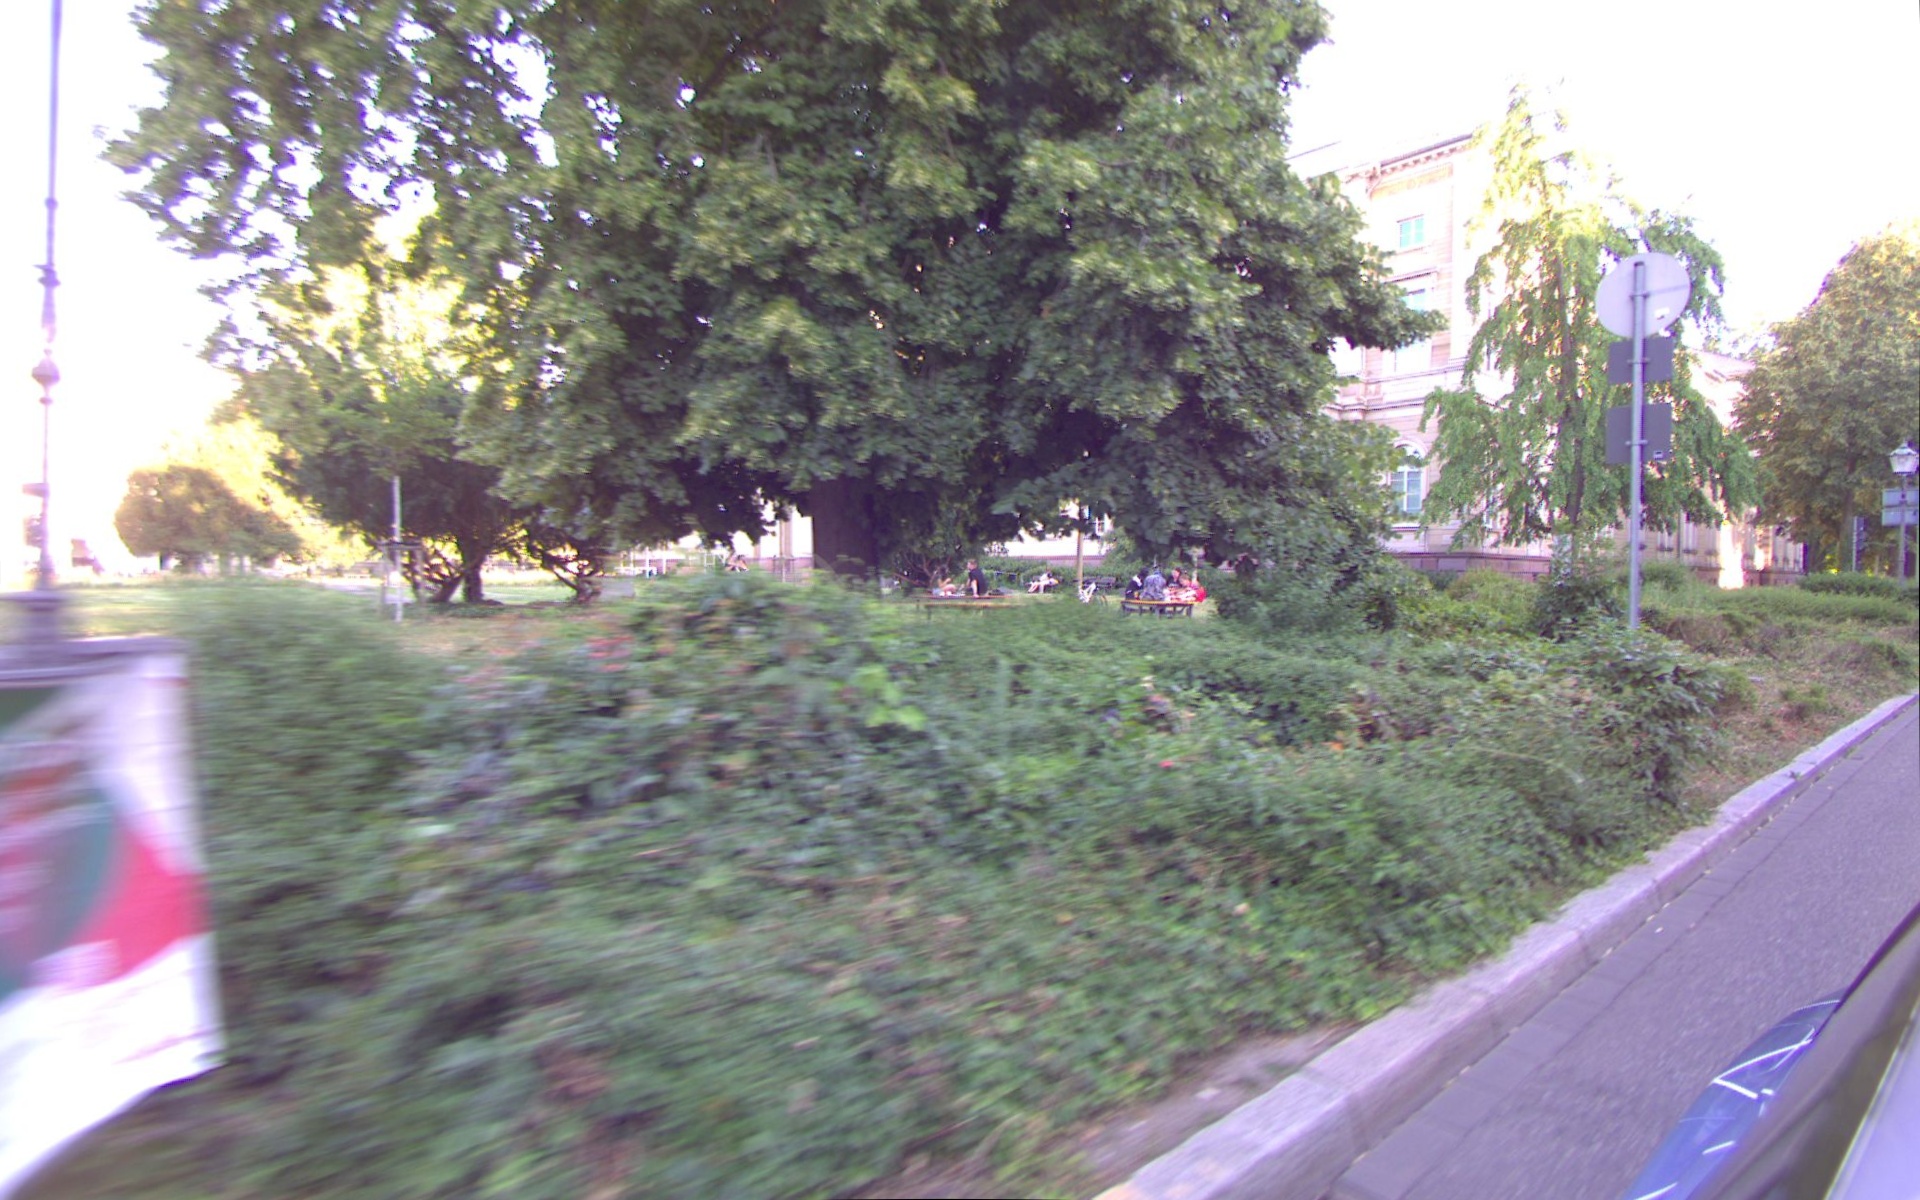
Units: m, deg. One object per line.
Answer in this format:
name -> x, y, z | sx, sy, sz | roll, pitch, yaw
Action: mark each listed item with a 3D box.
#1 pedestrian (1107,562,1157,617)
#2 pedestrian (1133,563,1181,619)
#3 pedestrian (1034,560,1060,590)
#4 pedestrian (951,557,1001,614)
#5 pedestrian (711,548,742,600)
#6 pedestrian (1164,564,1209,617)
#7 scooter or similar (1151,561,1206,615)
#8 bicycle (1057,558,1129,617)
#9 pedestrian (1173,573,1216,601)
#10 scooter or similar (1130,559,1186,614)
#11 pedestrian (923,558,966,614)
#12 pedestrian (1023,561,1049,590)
pedestrian -> 3.901, -0.251, 22.969 | 0.775, 1.206, 0.809 | -1, 2, -37
pedestrian -> 4.347, -0.213, 22.324 | 0.733, 1.206, 0.724 | -1, 2, -37
pedestrian -> 4.150, -1.181, 48.103 | 1.026, 1.414, 0.695 | -1, 2, -41
pedestrian -> 0.401, -0.379, 24.946 | 0.913, 1.364, 0.874 | 2, 2, 34
pedestrian -> -8.049, -0.917, 34.909 | 0.746, 1.769, 0.771 | -1, 2, -44
pedestrian -> 5.221, -0.232, 23.366 | 0.778, 1.206, 0.666 | 0, 2, -13
scooter or similar -> 5.239, -0.297, 24.258 | 1.214, 1.261, 0.413 | 2, 2, 37
bicycle -> 3.150, -0.309, 23.851 | 0.619, 1.316, 1.987 | 2, 3, 44
pedestrian -> 5.226, -0.296, 22.475 | 0.537, 0.556, 1.363 | 5, 4, 29
scooter or similar -> 4.685, -0.338, 23.977 | 1.212, 1.261, 0.413 | 2, 2, 34
pedestrian -> -0.387, -0.368, 25.328 | 0.756, 1.364, 0.779 | 2, 2, 33
pedestrian -> 3.683, -1.187, 48.869 | 1.026, 1.414, 0.695 | -1, 2, -41
